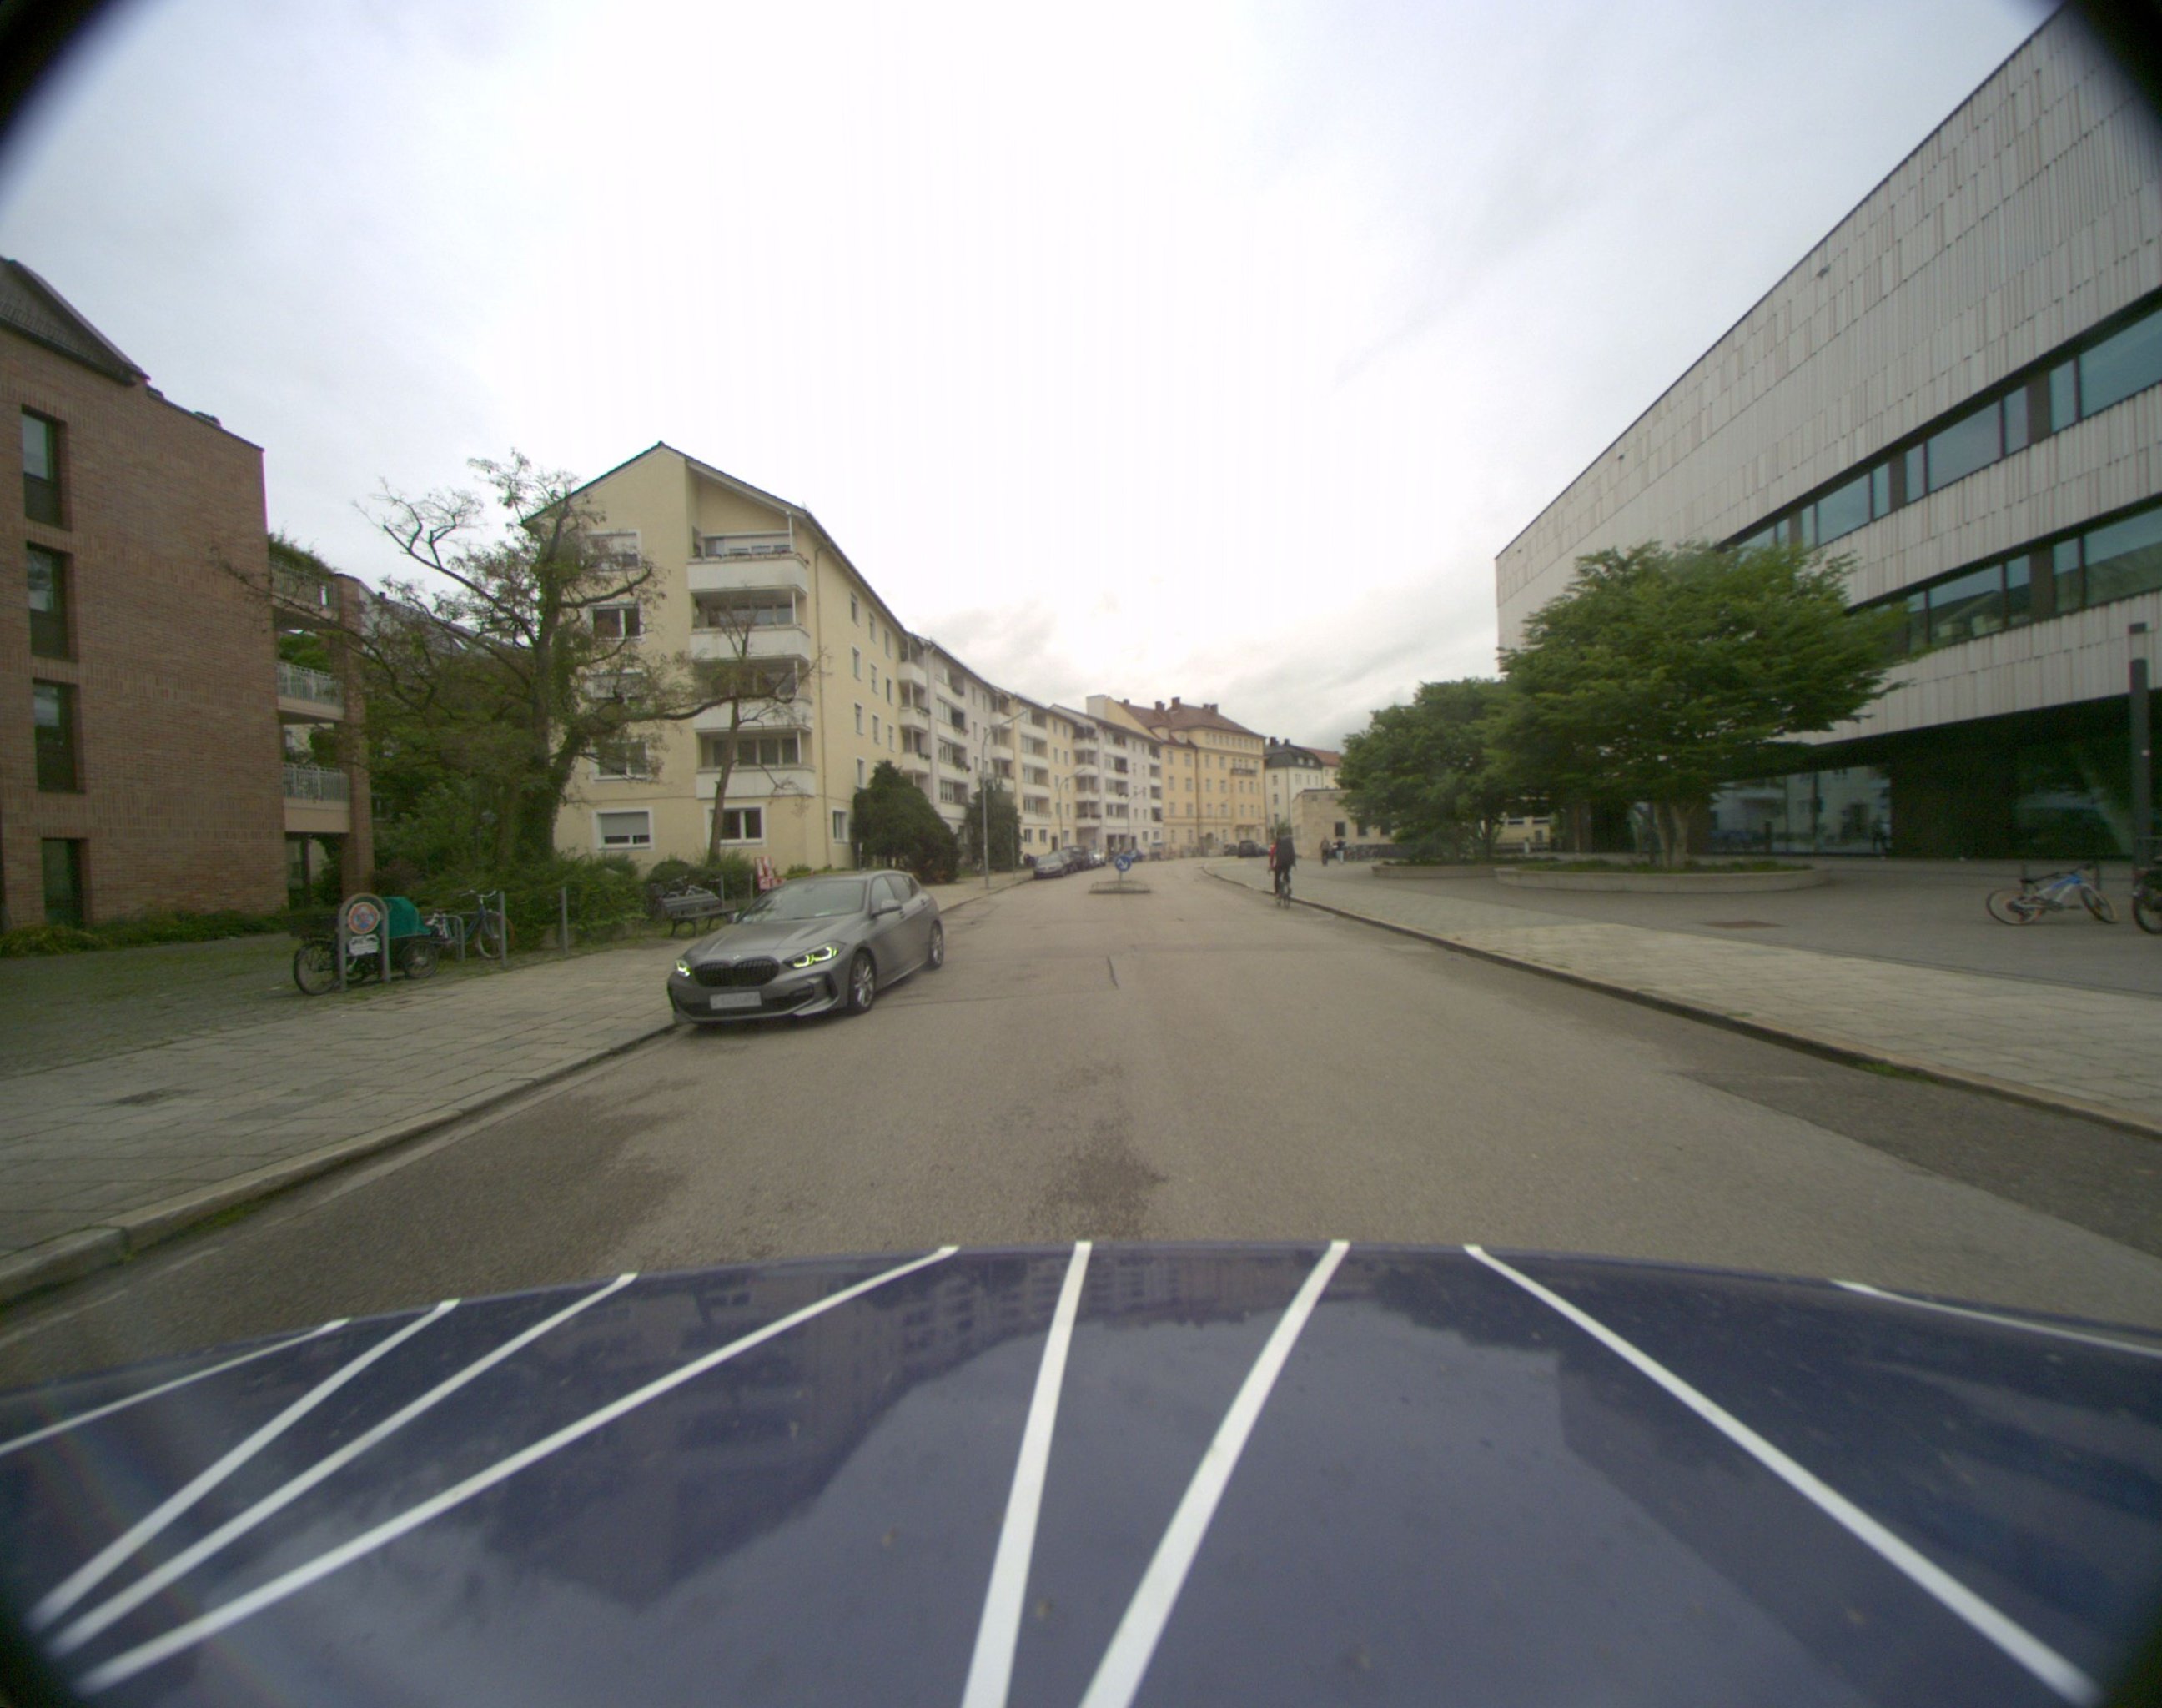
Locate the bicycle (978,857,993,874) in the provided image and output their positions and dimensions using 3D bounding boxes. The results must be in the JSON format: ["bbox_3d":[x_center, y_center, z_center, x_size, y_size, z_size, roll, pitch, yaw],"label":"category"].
[{"bbox_3d":[-6.543,0.758,52.012,0.468,1.111,1.945,-1,1,9],"label":"bicycle"}]

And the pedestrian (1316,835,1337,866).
[{"bbox_3d":[14.504,-0.231,44.948,0.788,1.772,1.014,-4,2,-2],"label":"pedestrian"}]

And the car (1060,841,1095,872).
[{"bbox_3d":[-0.211,0.177,55.596,1.751,2.069,4.519,-4,0,9],"label":"car"}]

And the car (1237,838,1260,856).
[{"bbox_3d":[17.698,-0.768,80.210,1.996,1.761,4.820,-2,0,17],"label":"car"}]

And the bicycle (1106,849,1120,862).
[{"bbox_3d":[3.513,0.165,82.703,0.811,1.315,2.778,-1,1,16],"label":"bicycle"}]

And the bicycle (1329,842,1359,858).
[{"bbox_3d":[20.220,-0.287,58.396,2.049,1.104,0.617,-4,0,8],"label":"bicycle"}]

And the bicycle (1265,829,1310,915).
[{"bbox_3d":[5.145,0.428,19.096,0.749,2.002,2.849,0,0,8],"label":"bicycle"}]

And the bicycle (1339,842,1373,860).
[{"bbox_3d":[18.926,-0.190,52.390,2.050,1.104,0.617,-4,0,5],"label":"bicycle"}]

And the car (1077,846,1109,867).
[{"bbox_3d":[1.101,0.191,66.350,2.030,1.668,4.616,-4,0,9],"label":"car"}]

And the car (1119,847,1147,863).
[{"bbox_3d":[5.543,0.091,80.907,1.832,1.434,4.634,4,2,17],"label":"car"}]

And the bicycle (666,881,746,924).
[{"bbox_3d":[-9.465,1.225,19.203,1.704,0.960,0.546,-4,0,3],"label":"bicycle"}]

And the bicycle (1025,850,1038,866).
[{"bbox_3d":[-4.256,0.347,65.658,0.744,1.360,2.472,1,1,5],"label":"bicycle"}]

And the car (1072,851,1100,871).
[{"bbox_3d":[0.441,0.513,61.027,1.661,1.341,3.806,-4,1,9],"label":"car"}]

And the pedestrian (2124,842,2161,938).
[{"bbox_3d":[13.515,0.430,9.042,0.719,1.156,1.041,-4,0,7],"label":"pedestrian"}]

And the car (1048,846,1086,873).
[{"bbox_3d":[-0.898,0.349,51.015,1.661,1.556,4.517,-4,1,9],"label":"car"}]

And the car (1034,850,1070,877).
[{"bbox_3d":[-1.691,0.561,46.287,1.758,1.388,4.044,-4,1,3],"label":"car"}]

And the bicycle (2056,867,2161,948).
[{"bbox_3d":[12.497,0.609,8.896,1.374,0.857,0.439,-4,0,9],"label":"bicycle"}]

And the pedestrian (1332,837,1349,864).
[{"bbox_3d":[15.976,-0.204,46.800,0.645,1.592,0.605,-4,0,-17],"label":"pedestrian"}]

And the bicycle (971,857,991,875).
[{"bbox_3d":[-6.546,0.763,49.820,0.467,1.111,1.946,-1,1,20],"label":"bicycle"}]

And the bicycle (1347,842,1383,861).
[{"bbox_3d":[18.453,-0.159,49.352,2.050,1.104,0.617,-4,0,5],"label":"bicycle"}]

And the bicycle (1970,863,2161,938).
[{"bbox_3d":[12.942,0.605,9.994,1.722,0.857,0.439,-4,0,9],"label":"bicycle"}]

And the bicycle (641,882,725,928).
[{"bbox_3d":[-9.608,1.230,18.355,1.704,0.960,0.546,-4,0,3],"label":"bicycle"}]

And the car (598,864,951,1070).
[{"bbox_3d":[-2.950,0.983,8.555,1.929,1.503,4.392,-4,0,2],"label":"car"}]

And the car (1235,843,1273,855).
[{"bbox_3d":[20.140,-0.586,88.540,4.007,1.366,1.747,-1,2,-10],"label":"car"}]

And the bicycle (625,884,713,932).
[{"bbox_3d":[-9.552,1.245,17.655,1.704,0.960,0.546,-4,0,3],"label":"bicycle"}]

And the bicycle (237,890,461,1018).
[{"bbox_3d":[-9.231,1.183,9.773,0.535,1.241,2.412,-4,2,-3],"label":"bicycle"}]

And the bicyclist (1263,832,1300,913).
[{"bbox_3d":[5.039,0.458,19.171,0.768,2.002,0.768,1,1,8],"label":"bicyclist"}]

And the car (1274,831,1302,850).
[{"bbox_3d":[27.989,-1.858,102.778,2.145,2.559,6.222,0,1,29],"label":"car"}]

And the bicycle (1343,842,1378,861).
[{"bbox_3d":[18.783,-0.179,51.008,2.050,1.104,0.617,-4,0,5],"label":"bicycle"}]

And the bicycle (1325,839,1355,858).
[{"bbox_3d":[20.495,-0.431,60.125,2.102,1.344,0.614,-4,0,8],"label":"bicycle"}]

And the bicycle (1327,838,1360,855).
[{"bbox_3d":[18.630,-0.520,53.910,2.050,1.104,0.617,-4,0,1],"label":"bicycle"}]

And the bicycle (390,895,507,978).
[{"bbox_3d":[-10.092,1.289,12.152,1.364,1.166,0.420,-4,0,-43],"label":"bicycle"}]
